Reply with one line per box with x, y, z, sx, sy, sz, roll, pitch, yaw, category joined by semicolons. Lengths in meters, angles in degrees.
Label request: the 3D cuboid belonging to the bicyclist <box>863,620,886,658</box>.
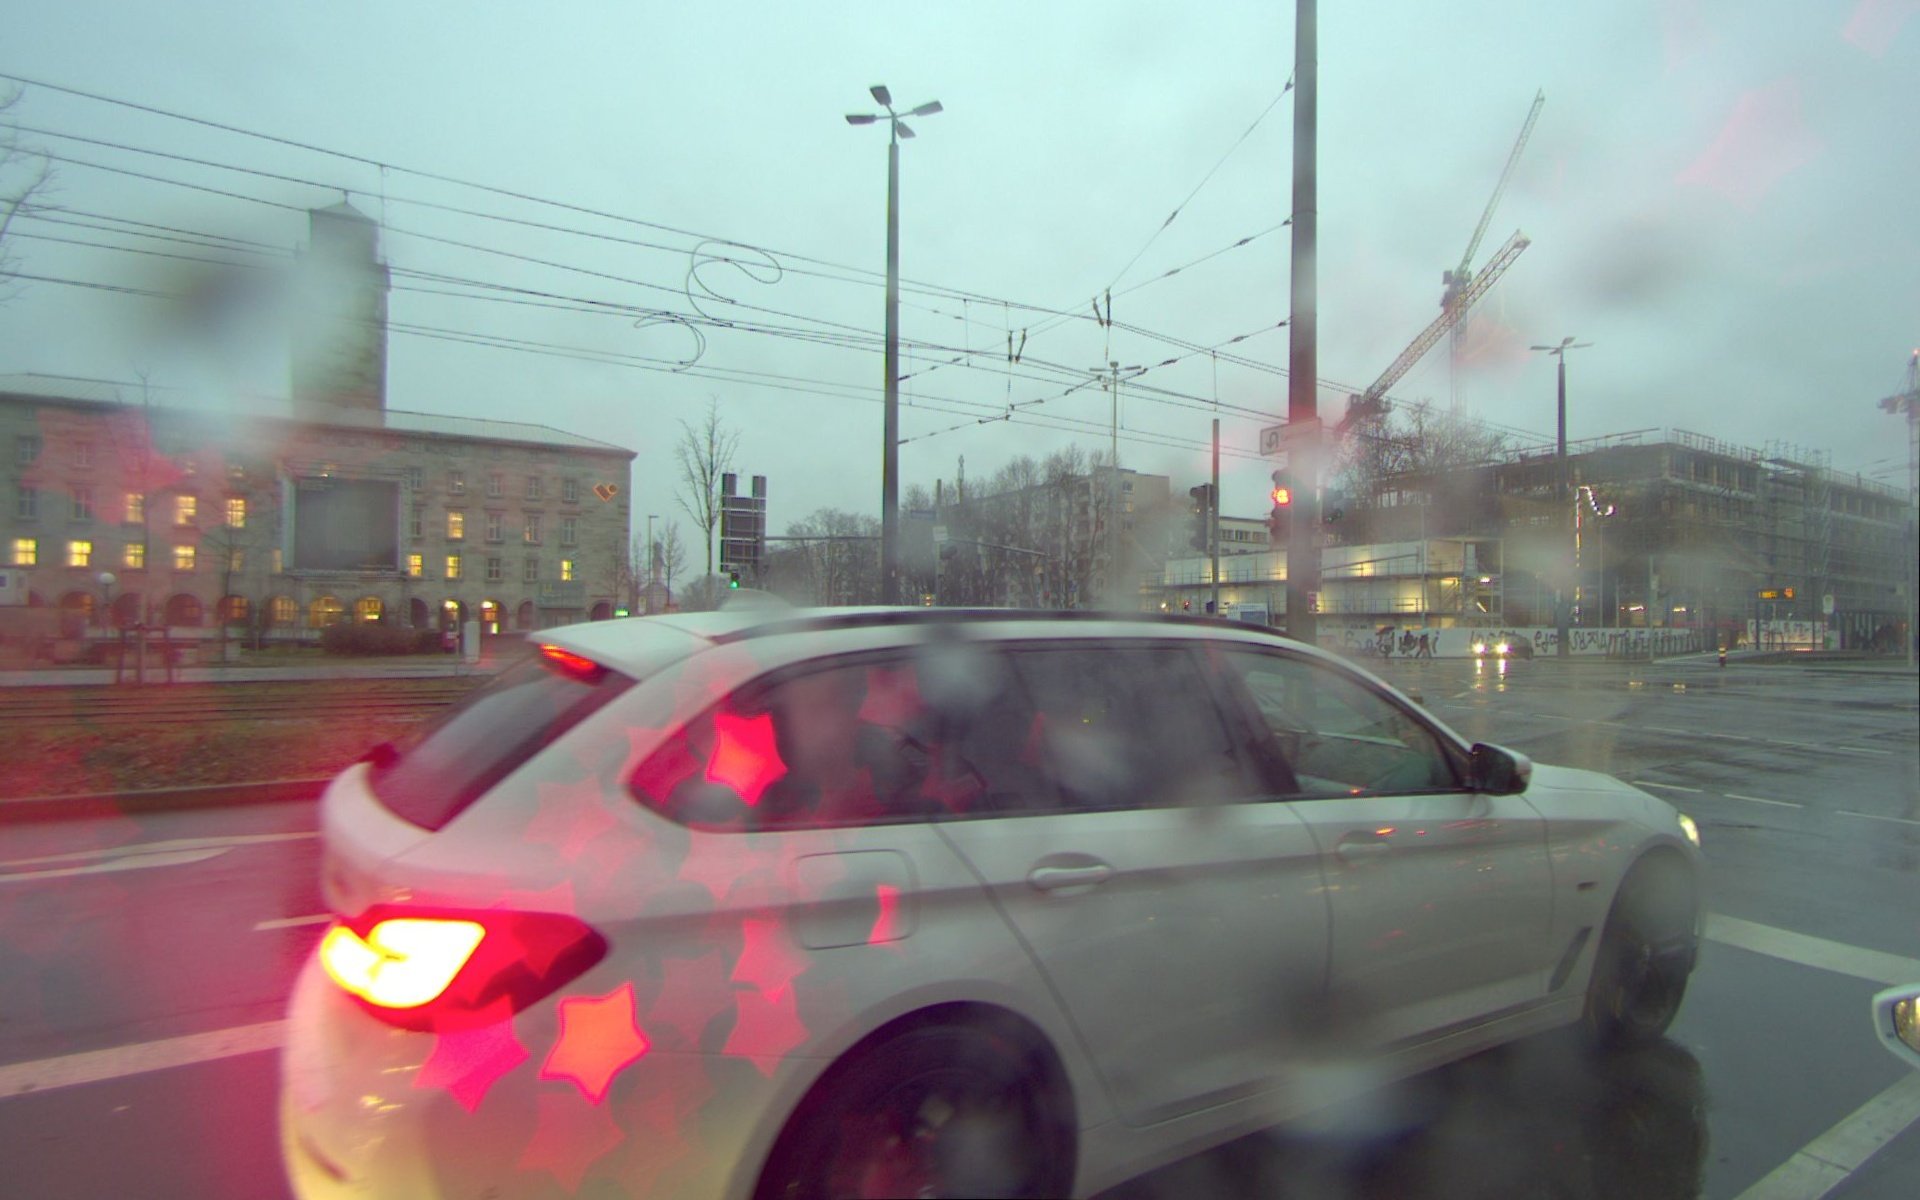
-3.989;1.805;46.596;0.612;1.719;1.026;2;-2;-36;bicyclist

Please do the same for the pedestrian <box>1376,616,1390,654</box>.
22.651;1.875;53.788;0.635;2.039;0.503;4;-4;-40;pedestrian

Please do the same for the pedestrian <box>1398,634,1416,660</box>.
26.671;2.795;59.925;0.785;1.549;0.642;1;-2;-25;pedestrian

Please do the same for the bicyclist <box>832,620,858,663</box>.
-5.115;1.855;44.742;0.714;1.863;0.986;2;-3;-39;bicyclist

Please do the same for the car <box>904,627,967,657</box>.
-1.481;2.490;59.675;1.978;1.706;3.965;1;-2;-33;car

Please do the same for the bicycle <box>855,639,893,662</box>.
-3.986;2.331;46.563;0.612;1.046;2.356;2;-2;-36;bicycle

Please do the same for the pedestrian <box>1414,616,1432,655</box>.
24.552;1.860;53.227;0.732;2.040;0.795;0;-1;14;pedestrian

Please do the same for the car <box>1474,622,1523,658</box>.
31.864;2.361;59.363;1.736;2.040;3.980;-1;-2;41;car

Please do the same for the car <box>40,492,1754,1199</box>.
0.450;0.713;3.341;4.868;1.540;1.900;2;-2;-32;car

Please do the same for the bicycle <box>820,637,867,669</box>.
-5.226;2.333;44.889;0.714;1.380;2.809;2;-3;-38;bicycle
